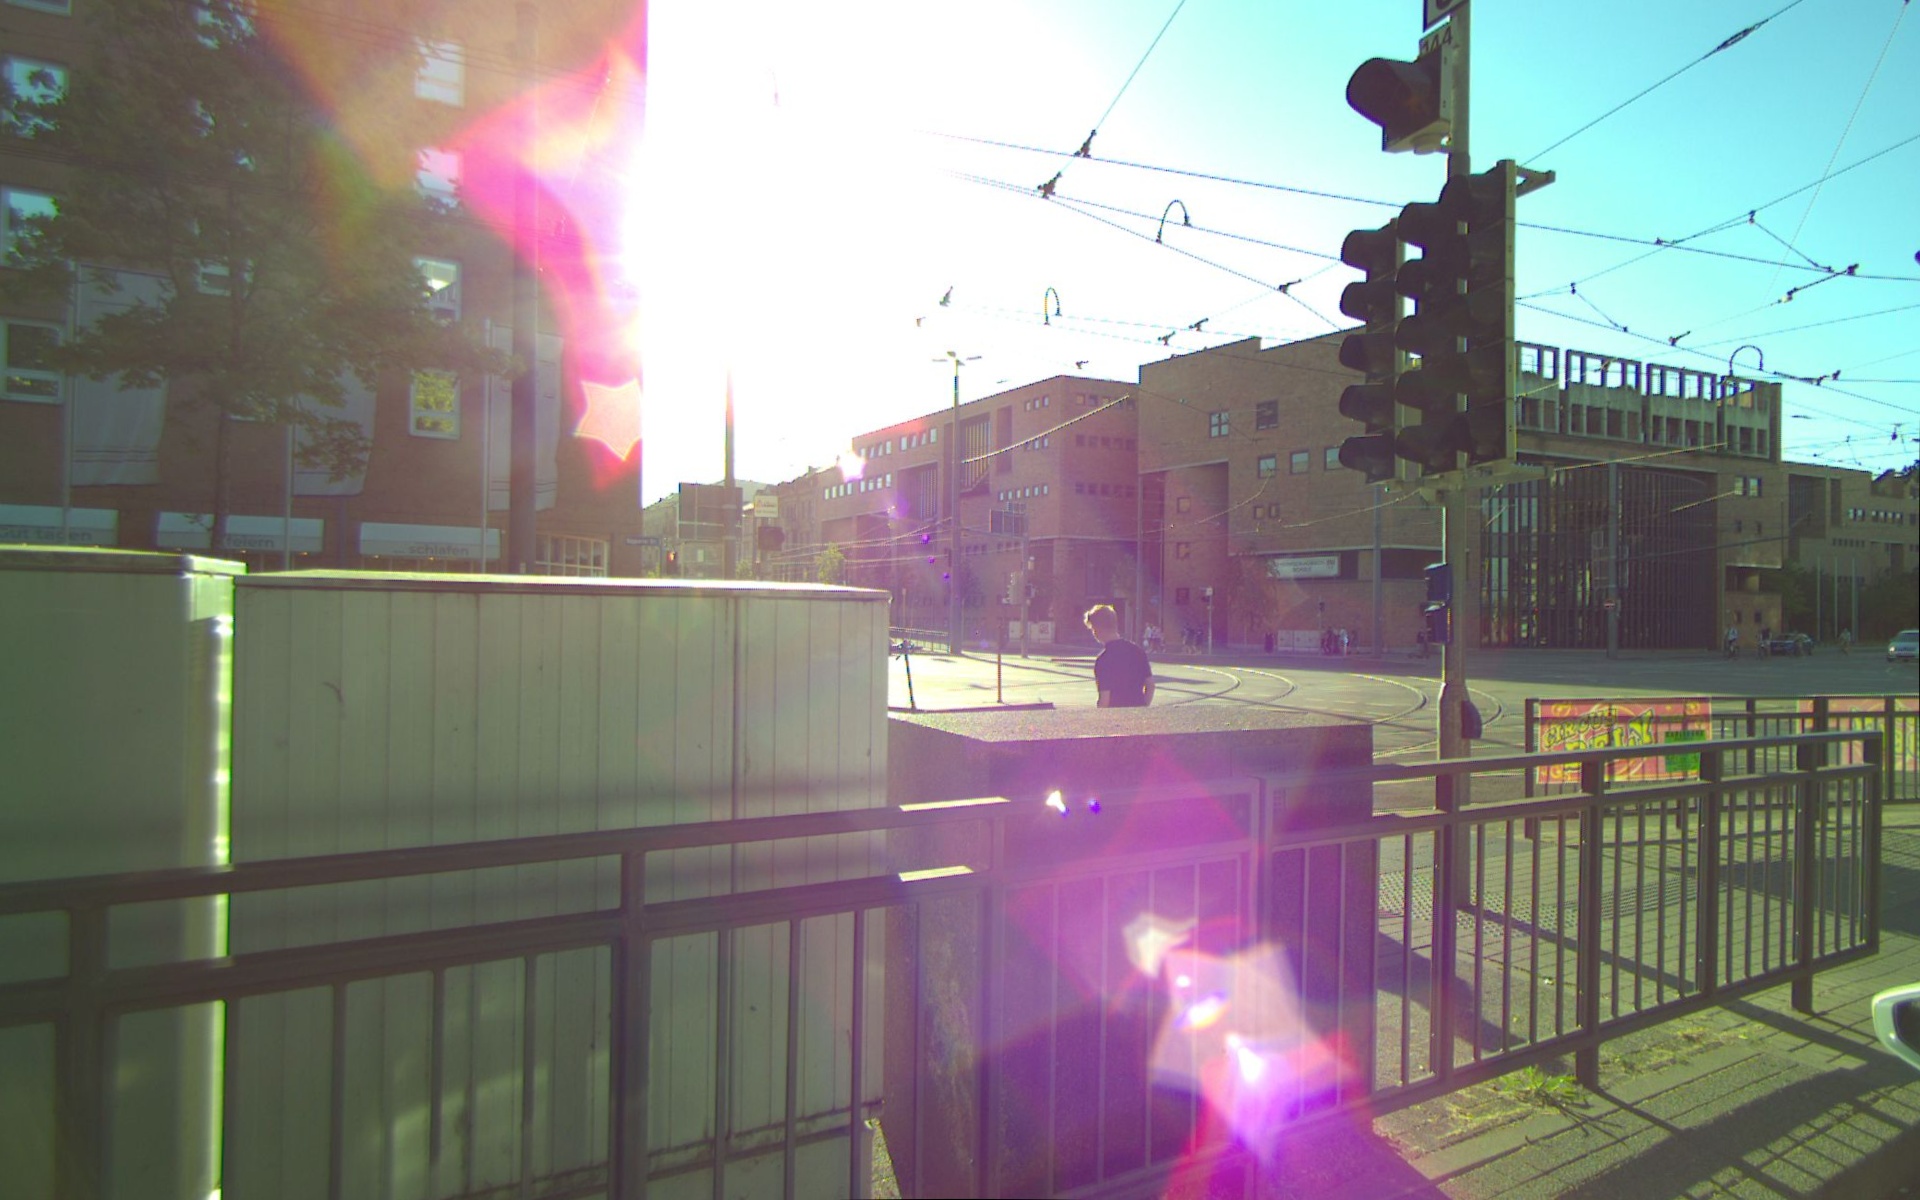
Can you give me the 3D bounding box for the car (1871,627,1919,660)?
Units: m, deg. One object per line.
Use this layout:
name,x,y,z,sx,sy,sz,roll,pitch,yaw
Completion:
car,48.989,2.224,51.776,3.954,1.661,1.984,1,-2,-31

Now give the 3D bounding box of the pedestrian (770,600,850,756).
pedestrian,-1.864,0.937,12.421,0.713,1.837,0.904,1,-1,-28

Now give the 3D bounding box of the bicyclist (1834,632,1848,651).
bicyclist,56.148,2.658,64.029,0.574,1.226,0.503,1,-1,-30

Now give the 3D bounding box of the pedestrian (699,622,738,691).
pedestrian,-6.067,1.403,25.227,0.709,1.669,0.953,1,-1,-30

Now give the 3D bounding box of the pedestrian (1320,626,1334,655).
pedestrian,21.960,2.433,60.026,0.585,1.706,0.547,1,-1,-30

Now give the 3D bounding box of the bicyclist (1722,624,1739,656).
bicyclist,42.371,2.179,55.249,0.574,1.754,0.534,1,-1,-30

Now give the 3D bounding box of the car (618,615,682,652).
car,-18.759,1.993,60.654,1.982,2.122,5.156,1,-2,-38

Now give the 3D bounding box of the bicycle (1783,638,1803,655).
bicycle,49.241,2.740,59.379,1.332,0.976,0.449,1,-1,-30

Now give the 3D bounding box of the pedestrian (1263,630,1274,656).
pedestrian,18.734,2.610,61.004,0.484,1.526,0.547,-1,-2,44

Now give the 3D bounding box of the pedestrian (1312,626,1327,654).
pedestrian,22.035,2.441,61.501,0.645,1.706,0.615,1,-1,-38

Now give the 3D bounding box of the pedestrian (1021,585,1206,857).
pedestrian,1.088,0.813,7.179,1.076,1.771,0.739,-2,-3,39

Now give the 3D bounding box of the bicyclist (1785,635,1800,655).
bicyclist,49.223,2.643,59.366,0.574,1.194,0.503,1,-1,-30

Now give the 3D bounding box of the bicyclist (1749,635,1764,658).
bicyclist,46.156,2.708,58.174,0.574,1.321,0.503,1,-1,-30

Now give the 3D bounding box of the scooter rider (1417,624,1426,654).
scooter rider,25.440,2.163,55.392,0.429,1.669,0.229,0,-1,15

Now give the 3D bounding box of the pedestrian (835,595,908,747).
pedestrian,-1.136,0.887,12.841,0.647,1.864,0.835,1,-1,-28

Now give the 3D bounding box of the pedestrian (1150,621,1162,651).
pedestrian,10.887,2.013,55.901,0.577,1.635,0.598,0,-1,5

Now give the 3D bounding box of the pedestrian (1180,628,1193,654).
pedestrian,12.694,2.305,56.347,0.602,1.473,0.570,0,-1,-1

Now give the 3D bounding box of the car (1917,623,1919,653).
car,55.259,2.112,55.890,3.954,1.661,1.984,1,-2,-31

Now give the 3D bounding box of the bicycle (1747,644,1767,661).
bicycle,46.139,3.033,58.179,1.304,0.976,0.465,1,-1,-30

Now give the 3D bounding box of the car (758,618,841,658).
car,-8.336,1.908,51.704,1.982,1.928,5.156,1,-2,-38

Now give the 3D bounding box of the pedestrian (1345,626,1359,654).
pedestrian,23.695,2.423,60.718,0.543,1.706,0.568,1,-1,-38

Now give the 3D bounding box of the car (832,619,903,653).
car,-4.849,1.835,52.304,1.980,1.572,3.961,2,0,-35

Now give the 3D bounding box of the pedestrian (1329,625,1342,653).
pedestrian,22.912,2.395,61.367,0.569,1.706,0.543,1,-2,-40

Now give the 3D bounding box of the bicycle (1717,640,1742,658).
bicycle,42.364,2.679,55.277,1.568,0.976,0.539,1,-1,-30

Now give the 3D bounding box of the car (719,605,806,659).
car,-9.526,1.519,48.054,1.982,2.419,5.156,1,-2,-38

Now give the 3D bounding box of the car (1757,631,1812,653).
car,55.259,2.801,67.294,3.954,1.455,1.658,1,-2,-31

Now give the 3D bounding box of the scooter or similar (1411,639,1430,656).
scooter or similar,25.385,2.639,55.372,0.931,0.911,0.176,0,-1,14

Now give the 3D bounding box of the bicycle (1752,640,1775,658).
bicycle,43.973,2.670,54.956,1.557,0.976,0.470,1,-1,-30

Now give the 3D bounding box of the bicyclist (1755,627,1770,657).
bicyclist,43.909,2.270,54.930,0.574,1.624,0.456,1,-1,-30

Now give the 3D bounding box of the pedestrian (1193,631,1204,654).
pedestrian,15.121,2.663,63.663,0.549,1.445,0.556,0,-1,0

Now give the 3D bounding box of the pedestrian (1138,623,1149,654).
pedestrian,10.108,2.119,55.233,0.538,1.670,0.601,0,-1,15

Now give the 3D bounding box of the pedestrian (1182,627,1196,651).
pedestrian,12.618,2.142,55.335,0.667,1.357,0.605,0,-1,7

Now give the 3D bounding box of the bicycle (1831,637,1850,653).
bicycle,56.156,2.874,64.074,1.469,0.976,0.489,1,-1,-30

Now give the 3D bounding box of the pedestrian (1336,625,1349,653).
pedestrian,23.640,2.427,62.041,0.497,1.706,0.589,1,-1,-34
